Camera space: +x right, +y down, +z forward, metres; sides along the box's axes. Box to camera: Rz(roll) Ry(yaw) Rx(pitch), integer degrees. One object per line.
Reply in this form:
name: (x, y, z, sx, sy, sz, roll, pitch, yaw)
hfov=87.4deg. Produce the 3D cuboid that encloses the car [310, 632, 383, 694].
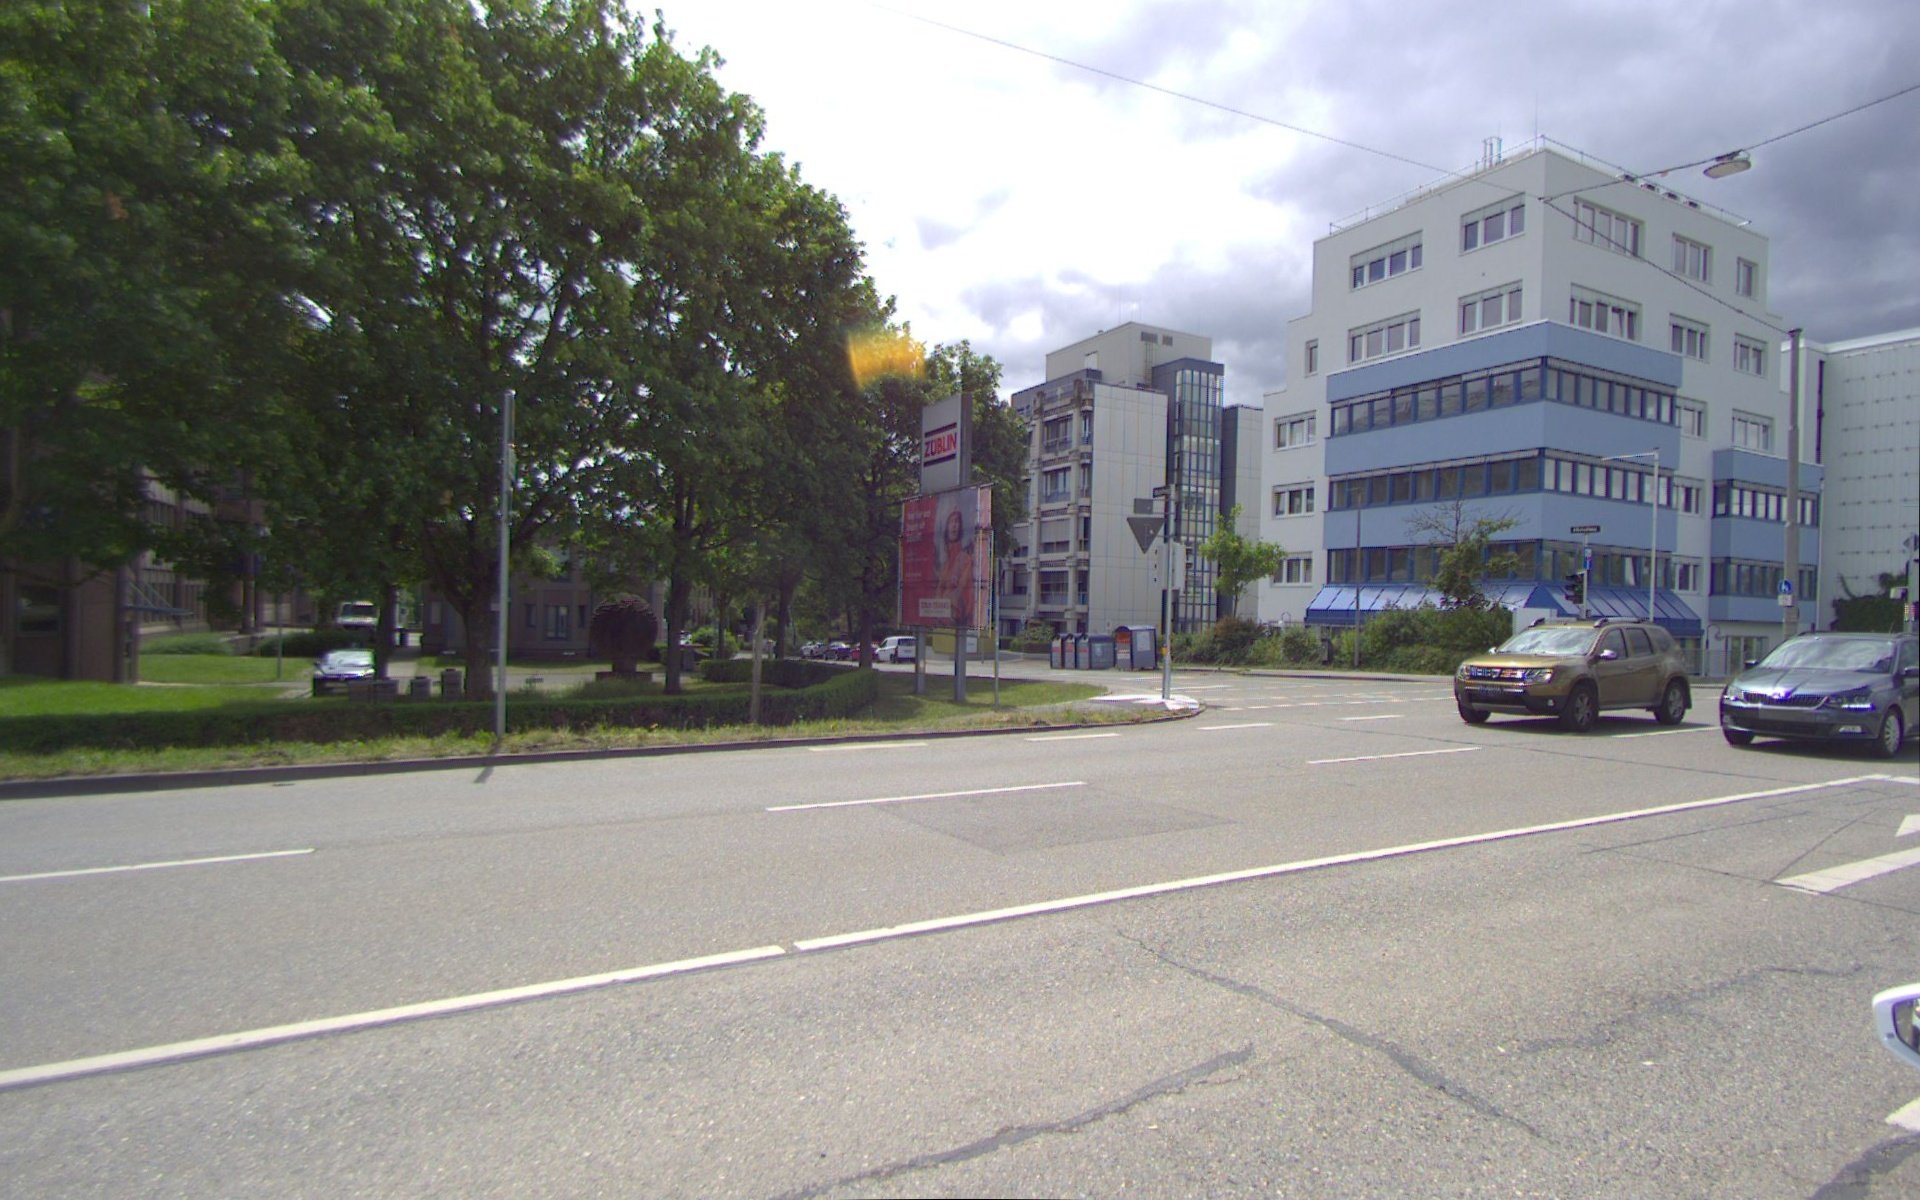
car: (-19.243, 1.939, 31.630, 1.765, 1.750, 3.969, 2, -2, -29)

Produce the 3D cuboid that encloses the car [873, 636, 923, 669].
car: (-4.188, 3.509, 67.672, 1.974, 2.006, 3.974, 2, -1, -26)

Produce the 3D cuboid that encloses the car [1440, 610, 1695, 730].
car: (9.515, 1.052, 15.685, 3.953, 1.652, 1.743, 2, -2, -30)

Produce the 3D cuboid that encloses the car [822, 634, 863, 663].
car: (-9.123, 3.711, 77.763, 1.848, 2.040, 3.973, 2, -1, -26)

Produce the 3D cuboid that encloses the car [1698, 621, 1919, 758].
car: (11.504, 1.049, 13.059, 3.961, 1.545, 1.661, 1, -1, -30)

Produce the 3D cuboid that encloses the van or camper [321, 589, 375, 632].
van or camper: (-33.339, 0.546, 54.690, 2.333, 2.132, 5.159, 2, -1, -32)

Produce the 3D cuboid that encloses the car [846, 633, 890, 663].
car: (-6.693, 3.447, 72.615, 1.868, 2.040, 3.974, 2, -1, -26)

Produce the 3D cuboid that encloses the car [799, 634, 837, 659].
car: (-11.753, 3.807, 82.943, 1.875, 1.919, 3.973, 2, -1, -26)
